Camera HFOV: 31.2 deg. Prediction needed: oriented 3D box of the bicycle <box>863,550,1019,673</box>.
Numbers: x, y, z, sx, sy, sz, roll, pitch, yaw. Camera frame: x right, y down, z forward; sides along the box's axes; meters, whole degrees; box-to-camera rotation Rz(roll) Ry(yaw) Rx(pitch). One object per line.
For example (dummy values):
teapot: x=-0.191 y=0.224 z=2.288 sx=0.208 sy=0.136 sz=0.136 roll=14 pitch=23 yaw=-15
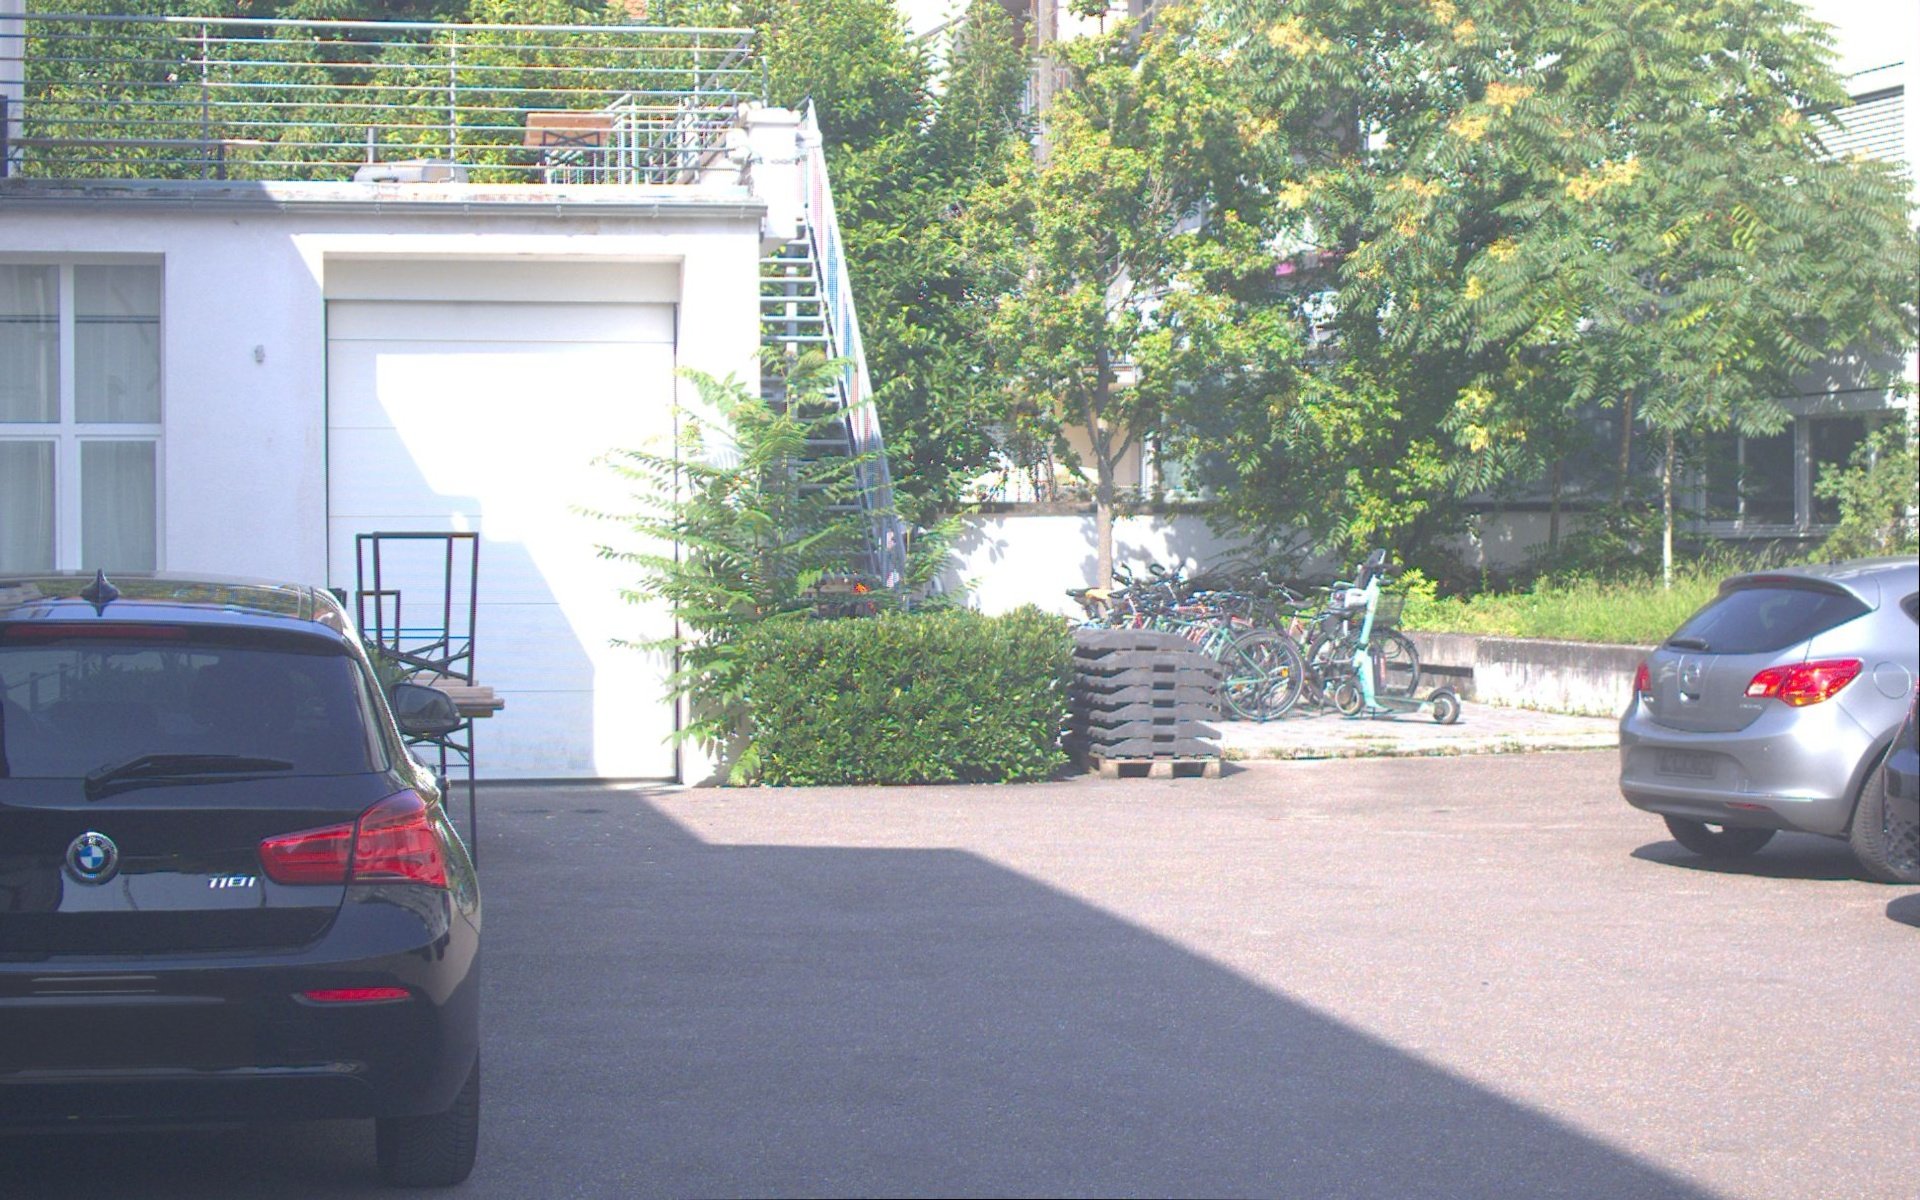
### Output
bicycle: x=-0.174 y=0.100 z=34.200 sx=0.489 sy=1.140 sz=1.990 roll=1 pitch=2 yaw=35

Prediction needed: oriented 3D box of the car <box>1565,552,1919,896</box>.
car: x=5.018 y=0.509 z=16.498 sx=3.895 sy=1.461 sz=1.663 roll=-1 pitch=2 yaw=-24

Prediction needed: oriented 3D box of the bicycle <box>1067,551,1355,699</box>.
bicycle: x=2.163 y=0.217 z=29.645 sx=2.410 sy=1.242 sz=0.526 roll=1 pitch=1 yaw=-10

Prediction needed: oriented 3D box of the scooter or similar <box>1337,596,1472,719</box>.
scooter or similar: x=3.451 y=0.440 z=26.732 sx=0.998 sy=0.921 sz=0.359 roll=2 pitch=1 yaw=42

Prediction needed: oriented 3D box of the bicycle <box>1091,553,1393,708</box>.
bicycle: x=2.323 y=0.253 z=28.332 sx=2.410 sy=1.242 sz=0.526 roll=1 pitch=1 yaw=-10

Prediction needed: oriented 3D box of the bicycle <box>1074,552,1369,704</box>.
bicycle: x=2.202 y=0.234 z=28.980 sx=2.410 sy=1.242 sz=0.526 roll=1 pitch=1 yaw=-11

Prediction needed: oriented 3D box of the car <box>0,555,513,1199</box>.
car: x=-2.308 y=0.615 z=9.137 sx=1.792 sy=1.423 sz=4.138 roll=0 pitch=1 yaw=-13

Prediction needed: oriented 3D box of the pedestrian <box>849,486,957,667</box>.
pedestrian: x=-0.564 y=-0.242 z=34.130 sx=0.860 sy=1.765 sz=0.610 roll=1 pitch=1 yaw=34

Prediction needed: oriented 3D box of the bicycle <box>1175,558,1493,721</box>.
bicycle: x=2.927 y=0.310 z=26.945 sx=2.410 sy=1.242 sz=0.526 roll=1 pitch=1 yaw=-10

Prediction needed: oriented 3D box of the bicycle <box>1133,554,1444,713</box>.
bicycle: x=2.632 y=0.268 z=27.567 sx=2.410 sy=1.242 sz=0.526 roll=1 pitch=1 yaw=-10

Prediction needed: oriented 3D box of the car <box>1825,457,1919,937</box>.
car: x=5.846 y=0.351 z=13.679 sx=4.334 sy=1.852 sz=1.915 roll=-1 pitch=2 yaw=-20
